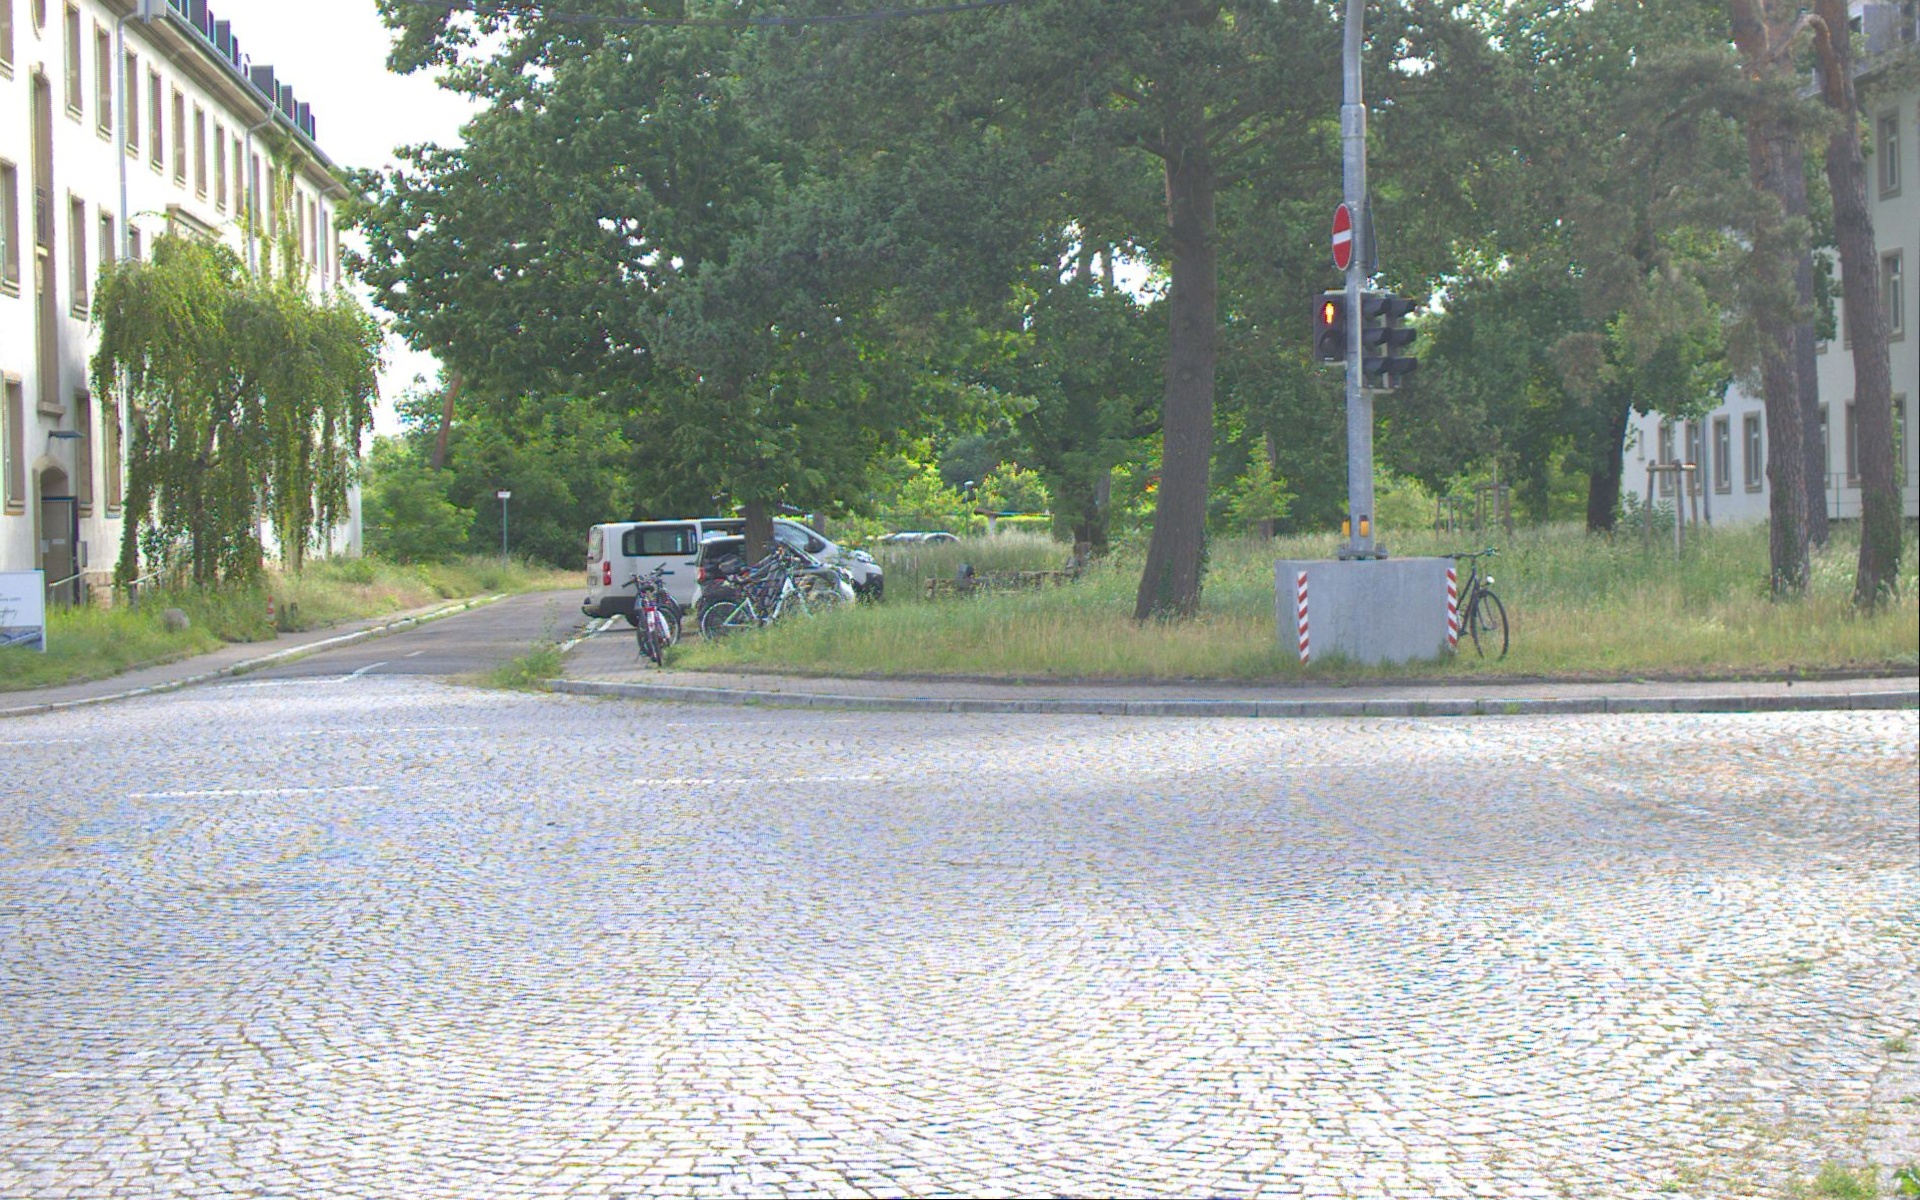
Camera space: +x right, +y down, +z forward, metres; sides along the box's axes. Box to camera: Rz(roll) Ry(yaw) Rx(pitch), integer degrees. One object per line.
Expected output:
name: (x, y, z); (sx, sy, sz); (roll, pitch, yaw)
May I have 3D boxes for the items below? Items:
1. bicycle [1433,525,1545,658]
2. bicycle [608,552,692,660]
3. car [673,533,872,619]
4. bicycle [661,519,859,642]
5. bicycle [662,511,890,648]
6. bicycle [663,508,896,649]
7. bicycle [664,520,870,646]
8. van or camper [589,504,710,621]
bicycle: (4.857, -0.092, 31.714); (0.724, 1.165, 2.737); (1, 1, 3)
bicycle: (-3.483, 0.046, 38.759); (0.725, 1.104, 2.462); (-6, 1, -2)
car: (-3.150, -0.417, 57.482); (3.137, 1.349, 1.620); (-1, 1, -9)
bicycle: (-2.849, -0.282, 49.189); (2.775, 1.688, 1.120); (1, 1, -2)
bicycle: (-2.382, -0.276, 44.303); (2.775, 1.688, 1.120); (-1, 1, -11)
bicycle: (-2.276, -0.281, 43.113); (2.775, 1.688, 1.120); (-1, 1, -9)
bicycle: (-2.674, -0.245, 47.860); (2.775, 1.688, 1.120); (1, 1, 0)
van or camper: (-5.551, -0.700, 61.539); (1.993, 1.942, 6.053); (-1, 1, -5)
